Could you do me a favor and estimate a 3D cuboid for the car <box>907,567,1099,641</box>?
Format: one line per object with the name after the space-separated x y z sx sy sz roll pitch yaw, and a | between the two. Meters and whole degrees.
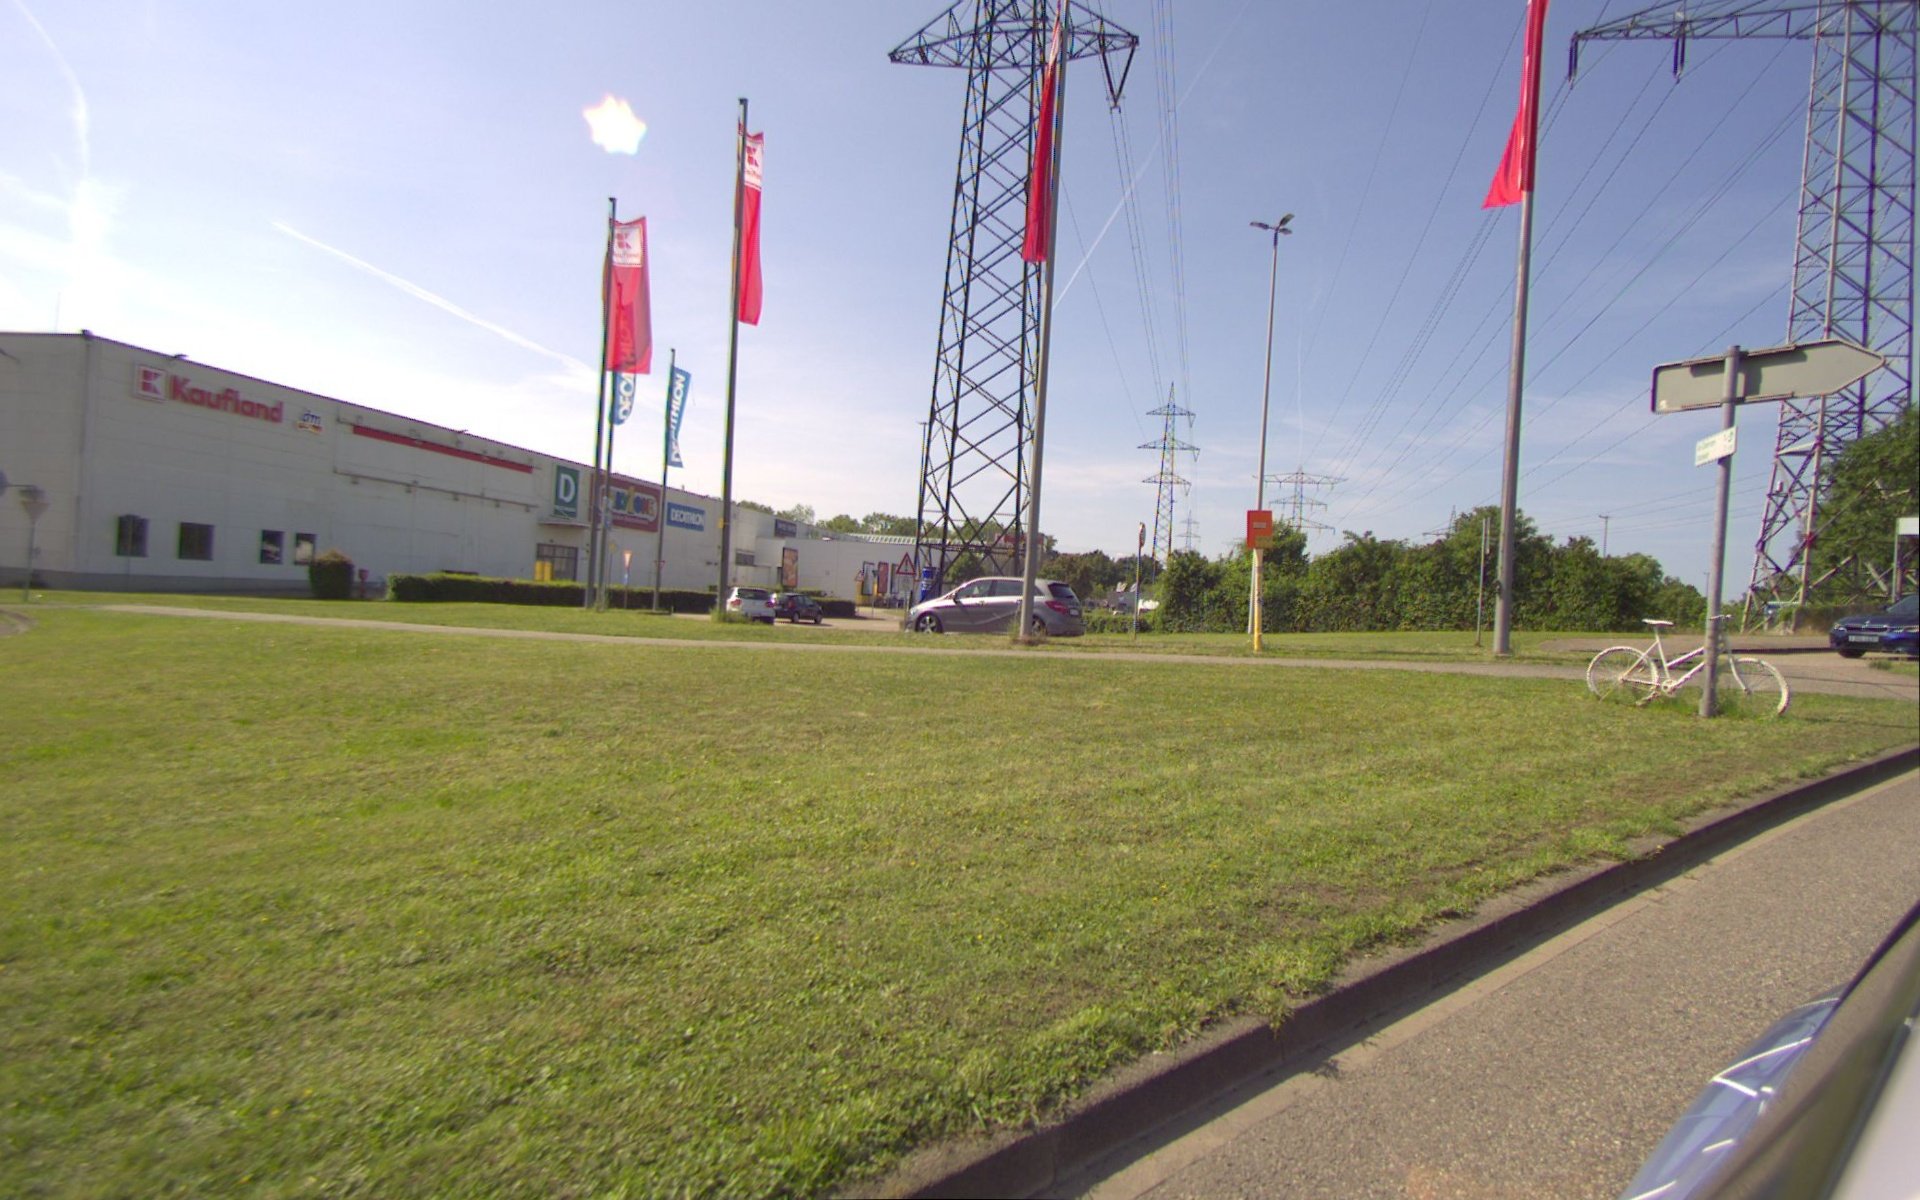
0.989 0.051 23.695 4.106 1.548 1.844 2 1 28 | car

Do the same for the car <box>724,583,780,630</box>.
-7.602 0.211 37.107 1.824 1.548 4.151 3 0 -11 | car

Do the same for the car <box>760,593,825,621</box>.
-8.691 0.397 52.751 1.757 1.349 3.716 1 -1 19 | car

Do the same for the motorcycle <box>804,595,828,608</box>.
-10.627 0.086 74.565 1.671 0.823 0.435 4 0 3 | motorcycle

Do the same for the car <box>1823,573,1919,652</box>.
20.413 0.360 20.553 4.428 1.502 1.796 4 0 -7 | car

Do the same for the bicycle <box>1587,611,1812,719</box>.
7.413 0.618 10.235 0.267 0.900 1.786 0 3 -43 | bicycle
